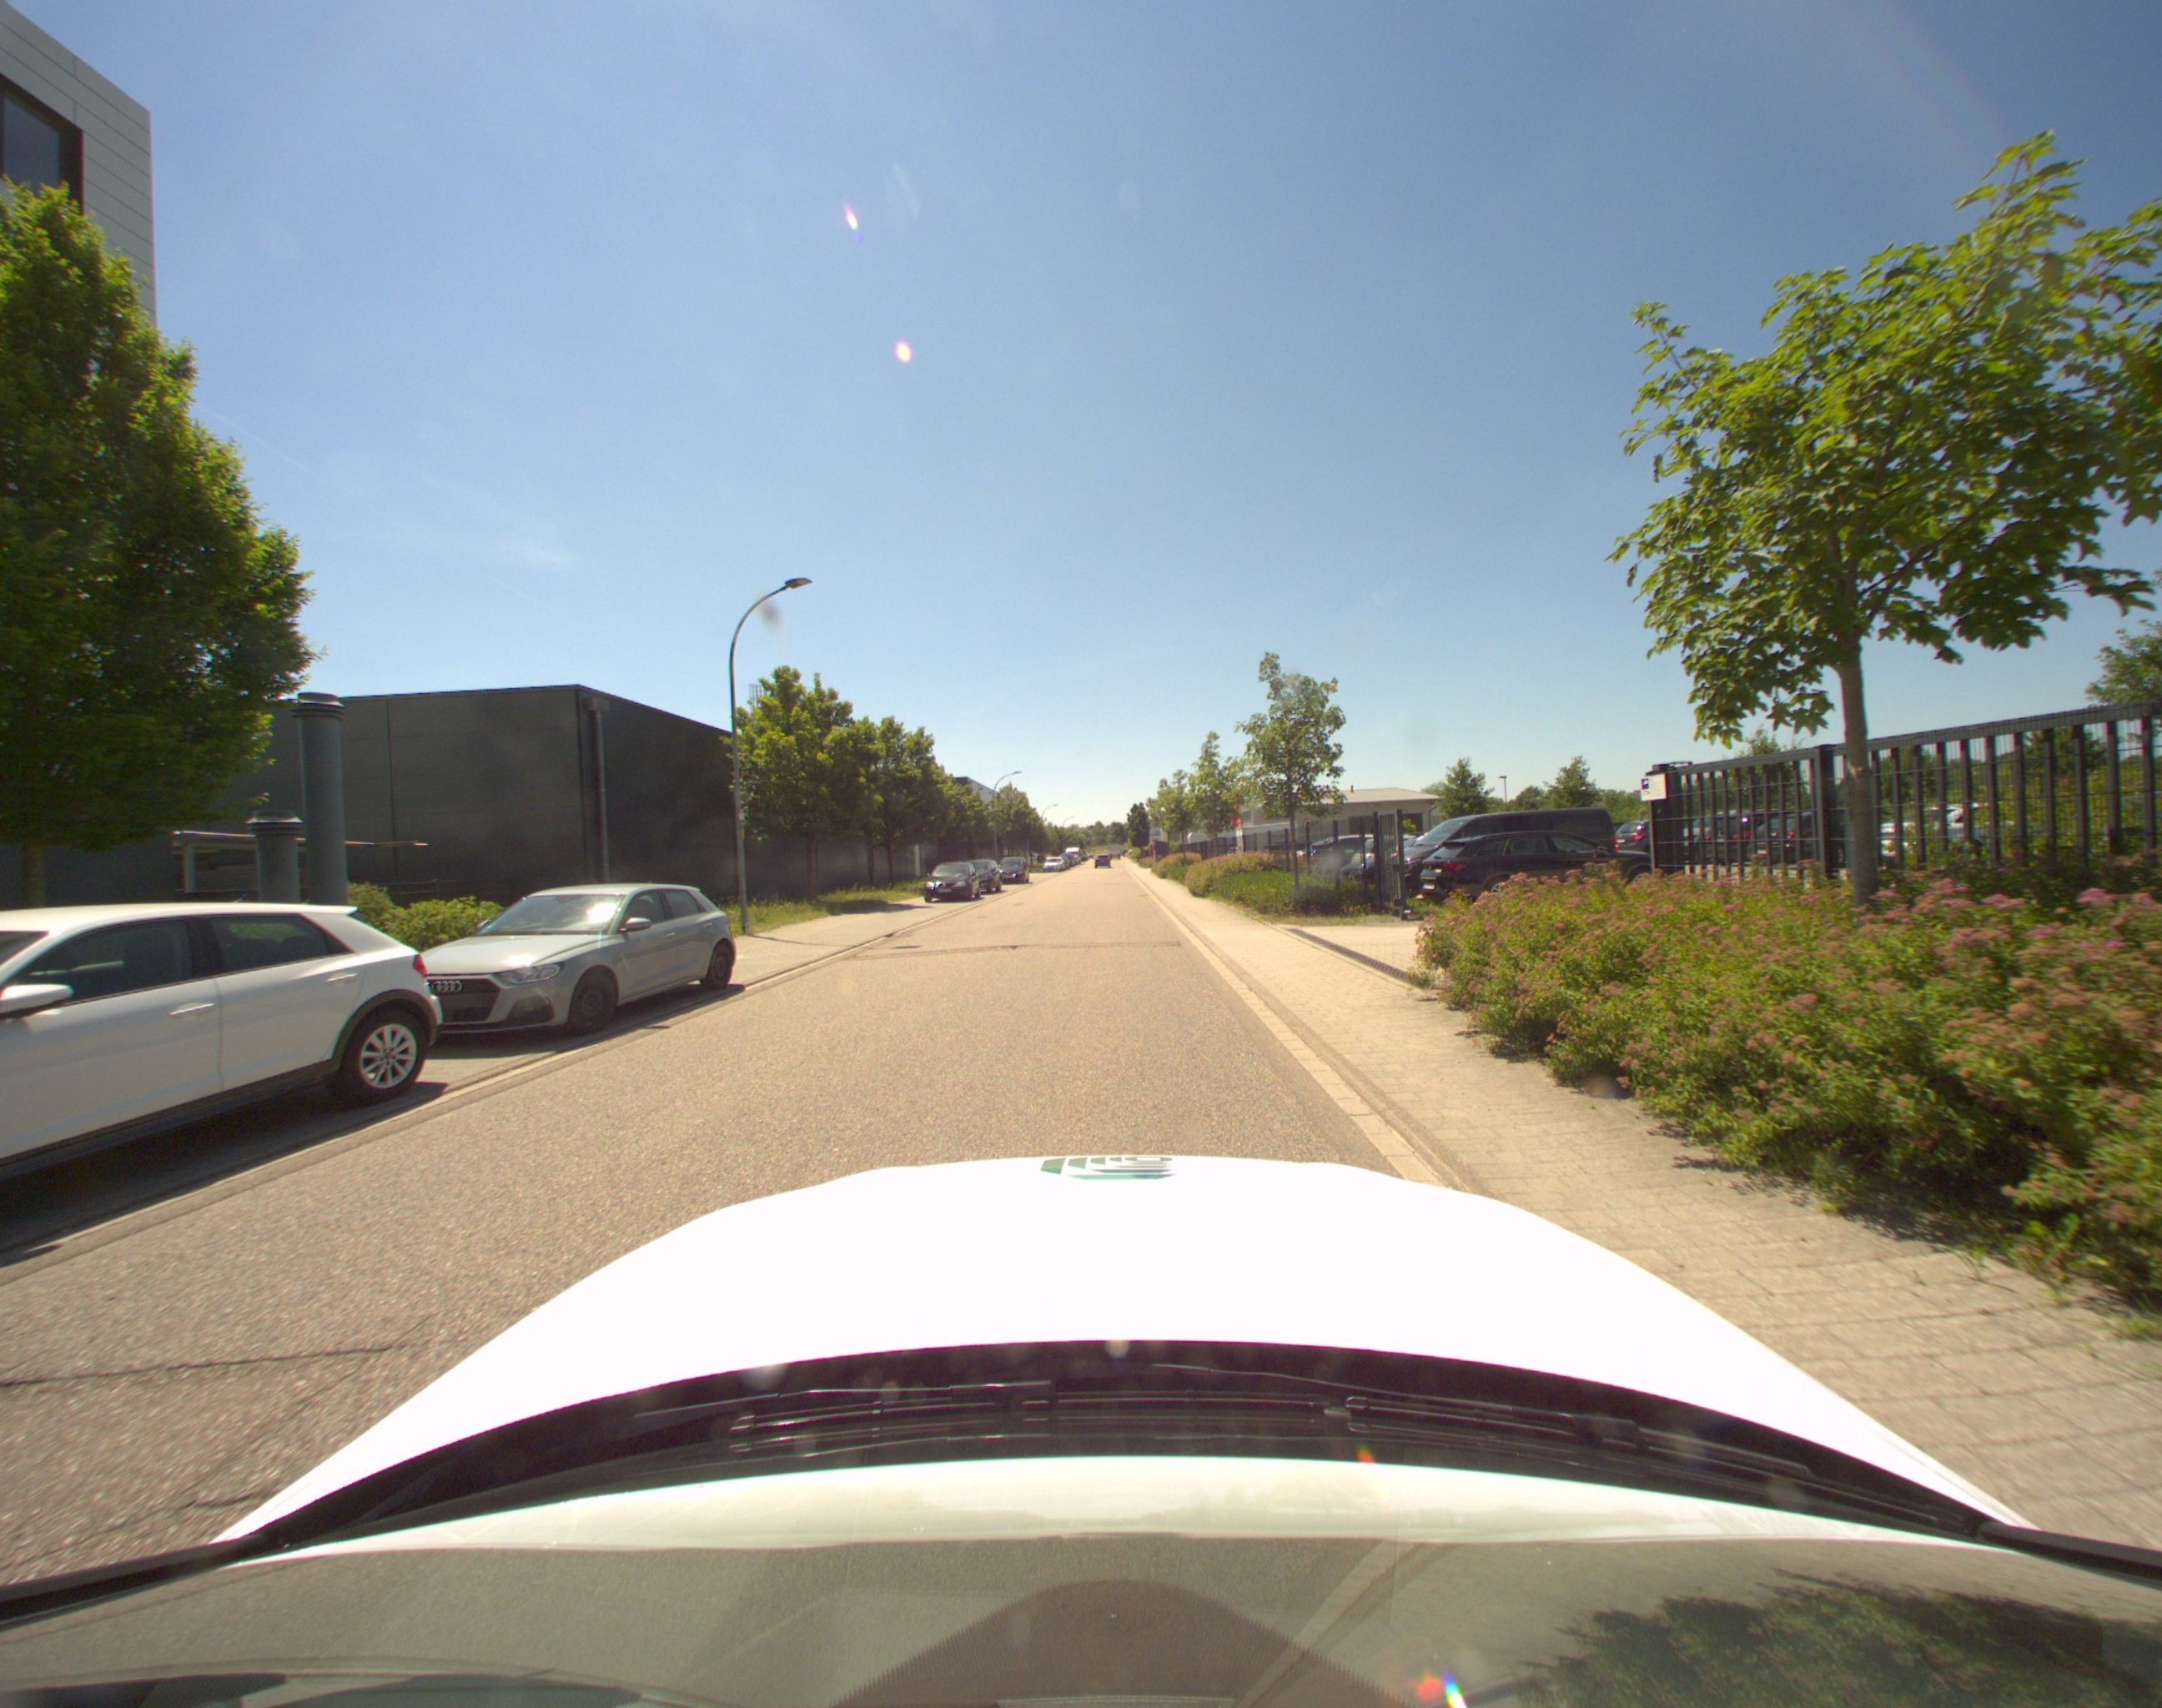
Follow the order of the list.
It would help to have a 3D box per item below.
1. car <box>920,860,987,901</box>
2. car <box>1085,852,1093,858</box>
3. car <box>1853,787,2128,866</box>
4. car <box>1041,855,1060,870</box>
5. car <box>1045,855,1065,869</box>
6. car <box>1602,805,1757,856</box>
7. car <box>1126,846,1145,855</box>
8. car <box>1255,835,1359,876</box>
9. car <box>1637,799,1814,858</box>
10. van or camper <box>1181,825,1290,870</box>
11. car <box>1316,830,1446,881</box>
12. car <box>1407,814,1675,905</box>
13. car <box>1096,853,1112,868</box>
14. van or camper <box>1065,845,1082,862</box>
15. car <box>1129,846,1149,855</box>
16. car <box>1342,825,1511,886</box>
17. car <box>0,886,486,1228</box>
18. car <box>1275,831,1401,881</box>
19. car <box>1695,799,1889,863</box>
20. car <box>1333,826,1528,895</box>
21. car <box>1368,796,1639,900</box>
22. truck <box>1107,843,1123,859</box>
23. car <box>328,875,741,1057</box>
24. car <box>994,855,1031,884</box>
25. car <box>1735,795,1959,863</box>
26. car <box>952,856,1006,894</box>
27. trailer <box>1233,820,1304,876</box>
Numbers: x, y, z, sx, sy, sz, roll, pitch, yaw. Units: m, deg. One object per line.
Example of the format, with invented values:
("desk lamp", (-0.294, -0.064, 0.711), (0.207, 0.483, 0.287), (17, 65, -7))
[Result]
("car", (-4.898, 0.991, 31.808), (1.764, 1.431, 4.203), (-1, 0, 2))
("car", (1.961, 0.248, 200.602), (1.791, 1.487, 4.257), (-2, 1, 4))
("car", (19.805, -0.570, 17.881), (3.855, 1.403, 1.769), (-4, 0, 4))
("car", (-3.034, 0.850, 82.012), (1.715, 1.476, 3.857), (-2, 0, 0))
("car", (-2.762, 0.840, 87.271), (1.792, 1.476, 4.558), (-2, 0, 3))
("car", (20.796, -0.790, 28.415), (4.027, 1.448, 1.777), (-4, 0, 1))
("car", (11.586, -0.721, 172.011), (3.863, 1.750, 1.751), (-1, 0, -1))
("car", (9.867, 0.058, 35.778), (4.027, 1.503, 1.919), (-4, 0, 1))
("car", (20.366, -0.782, 25.864), (4.027, 1.552, 1.919), (-4, 0, 1))
("van or camper", (10.233, -0.438, 54.549), (6.733, 2.585, 2.636), (-3, 0, 1))
("car", (9.804, 0.055, 26.788), (3.652, 1.422, 1.645), (-3, 0, 1))
("car", (8.877, 0.098, 15.979), (4.200, 1.422, 1.765), (-4, 0, 1))
("car", (2.636, 0.707, 92.951), (1.782, 1.623, 3.811), (-1, 0, 2))
("van or camper", (-1.135, -0.024, 123.270), (2.069, 2.483, 6.138), (-1, 0, 5))
("car", (12.050, -0.723, 169.474), (3.863, 1.750, 1.751), (-1, 0, -1))
("car", (10.259, 0.046, 24.389), (4.264, 1.444, 1.755), (-4, 0, 1))
("car", (-5.748, 0.989, 4.453), (1.764, 1.431, 4.203), (-1, 0, 2))
("car", (9.265, 0.061, 29.619), (3.973, 1.522, 1.823), (-3, 0, 1))
("car", (20.173, -0.619, 23.247), (3.855, 1.503, 1.769), (-4, 0, 4))
("car", (9.054, 0.165, 21.327), (4.329, 1.449, 1.603), (-4, 0, 1))
("car", (9.482, -0.134, 18.583), (5.095, 1.873, 1.903), (-4, 0, 1))
("truck", (6.537, -0.631, 154.380), (2.921, 2.974, 6.423), (-1, 0, 3))
("car", (-5.519, 1.013, 8.962), (1.764, 1.431, 3.942), (-1, 0, 2))
("car", (-4.177, 0.910, 49.922), (1.764, 1.611, 4.248), (-2, 0, 1))
("car", (19.311, -0.612, 20.682), (3.855, 1.403, 1.769), (-4, 0, 4))
("car", (-4.709, 0.927, 38.202), (1.764, 1.611, 4.853), (-2, 0, 1))
("trailer", (8.774, -0.288, 38.262), (2.815, 2.403, 1.418), (-4, 0, -2))
